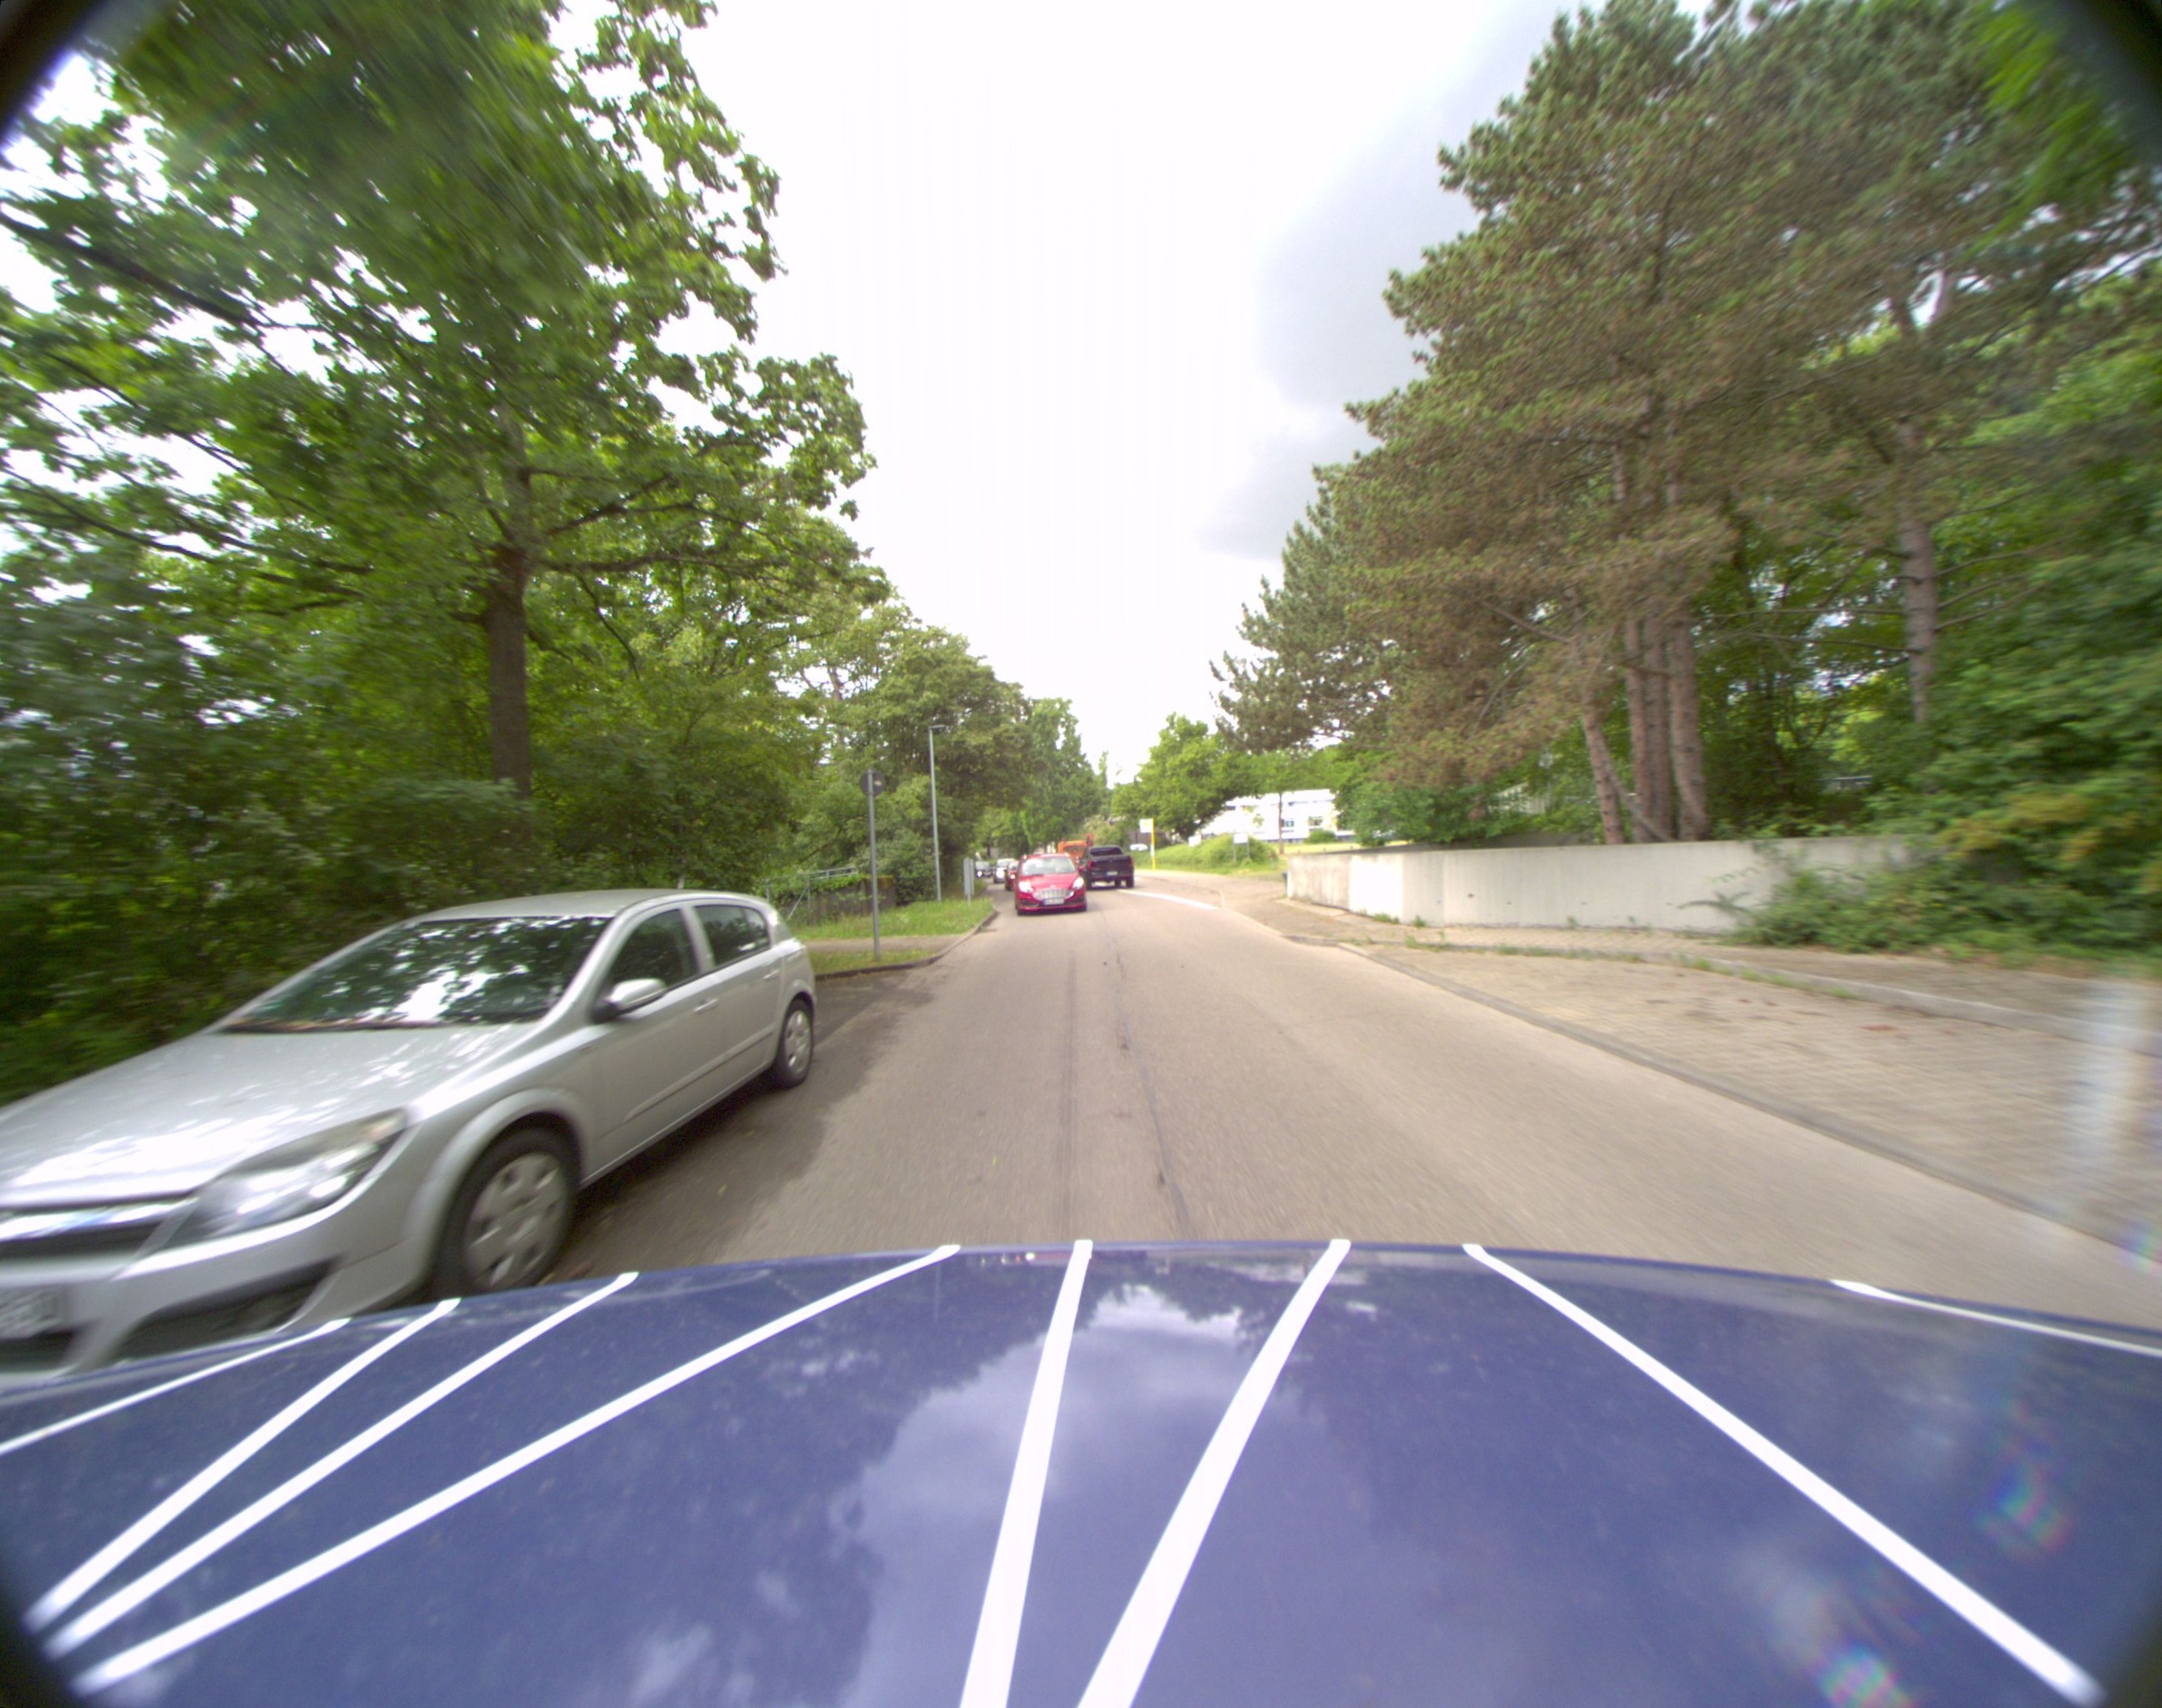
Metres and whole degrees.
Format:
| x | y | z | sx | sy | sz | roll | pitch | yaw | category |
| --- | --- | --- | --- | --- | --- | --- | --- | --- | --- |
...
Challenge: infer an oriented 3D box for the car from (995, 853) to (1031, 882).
| x | y | z | sx | sy | sz | roll | pitch | yaw | category |
| --- | --- | --- | --- | --- | --- | --- | --- | --- | --- |
| -4.612 | 0.875 | 50.996 | 2.000 | 1.684 | 3.996 | -5 | 2 | -8 | car |

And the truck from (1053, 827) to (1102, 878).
| x | y | z | sx | sy | sz | roll | pitch | yaw | category |
| --- | --- | --- | --- | --- | --- | --- | --- | --- | --- |
| -0.217 | -0.050 | 42.161 | 2.328 | 2.455 | 6.020 | -5 | 0 | -1 | truck |

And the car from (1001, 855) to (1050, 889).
| x | y | z | sx | sy | sz | roll | pitch | yaw | category |
| --- | --- | --- | --- | --- | --- | --- | --- | --- | --- |
| -2.842 | 0.860 | 38.232 | 2.000 | 1.503 | 3.996 | -2 | 0 | -10 | car |

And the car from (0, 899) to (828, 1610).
| x | y | z | sx | sy | sz | roll | pitch | yaw | category |
| --- | --- | --- | --- | --- | --- | --- | --- | --- | --- |
| -2.913 | 1.089 | 3.821 | 1.797 | 1.402 | 4.059 | -2 | 0 | 1 | car |

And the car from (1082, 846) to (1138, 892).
| x | y | z | sx | sy | sz | roll | pitch | yaw | category |
| --- | --- | --- | --- | --- | --- | --- | --- | --- | --- |
| 1.156 | 0.572 | 32.522 | 1.999 | 1.725 | 5.335 | -3 | 0 | -1 | car |

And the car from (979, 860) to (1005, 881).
| x | y | z | sx | sy | sz | roll | pitch | yaw | category |
| --- | --- | --- | --- | --- | --- | --- | --- | --- | --- |
| -8.199 | 1.505 | 69.893 | 2.000 | 1.663 | 3.996 | -5 | 2 | -10 | car |

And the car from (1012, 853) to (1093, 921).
| x | y | z | sx | sy | sz | roll | pitch | yaw | category |
| --- | --- | --- | --- | --- | --- | --- | --- | --- | --- |
| -0.894 | 0.830 | 21.548 | 1.946 | 1.550 | 4.353 | -4 | 1 | -4 | car |

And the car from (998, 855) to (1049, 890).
| x | y | z | sx | sy | sz | roll | pitch | yaw | category |
| --- | --- | --- | --- | --- | --- | --- | --- | --- | --- |
| -2.974 | 0.890 | 38.419 | 1.949 | 1.523 | 4.082 | -5 | 1 | -12 | car |

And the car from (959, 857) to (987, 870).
| x | y | z | sx | sy | sz | roll | pitch | yaw | category |
| --- | --- | --- | --- | --- | --- | --- | --- | --- | --- |
| -13.557 | 1.184 | 95.148 | 1.856 | 1.483 | 3.991 | -4 | 0 | -31 | car |

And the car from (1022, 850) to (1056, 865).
| x | y | z | sx | sy | sz | roll | pitch | yaw | category |
| --- | --- | --- | --- | --- | --- | --- | --- | --- | --- |
| -5.541 | 0.481 | 100.304 | 3.803 | 1.629 | 2.002 | -4 | 2 | 25 | car |

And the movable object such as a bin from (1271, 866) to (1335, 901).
| x | y | z | sx | sy | sz | roll | pitch | yaw | category |
| --- | --- | --- | --- | --- | --- | --- | --- | --- | --- |
| 5.722 | 0.749 | 19.585 | 1.149 | 0.756 | 1.046 | -6 | 2 | -38 | movable object such as a bin |
